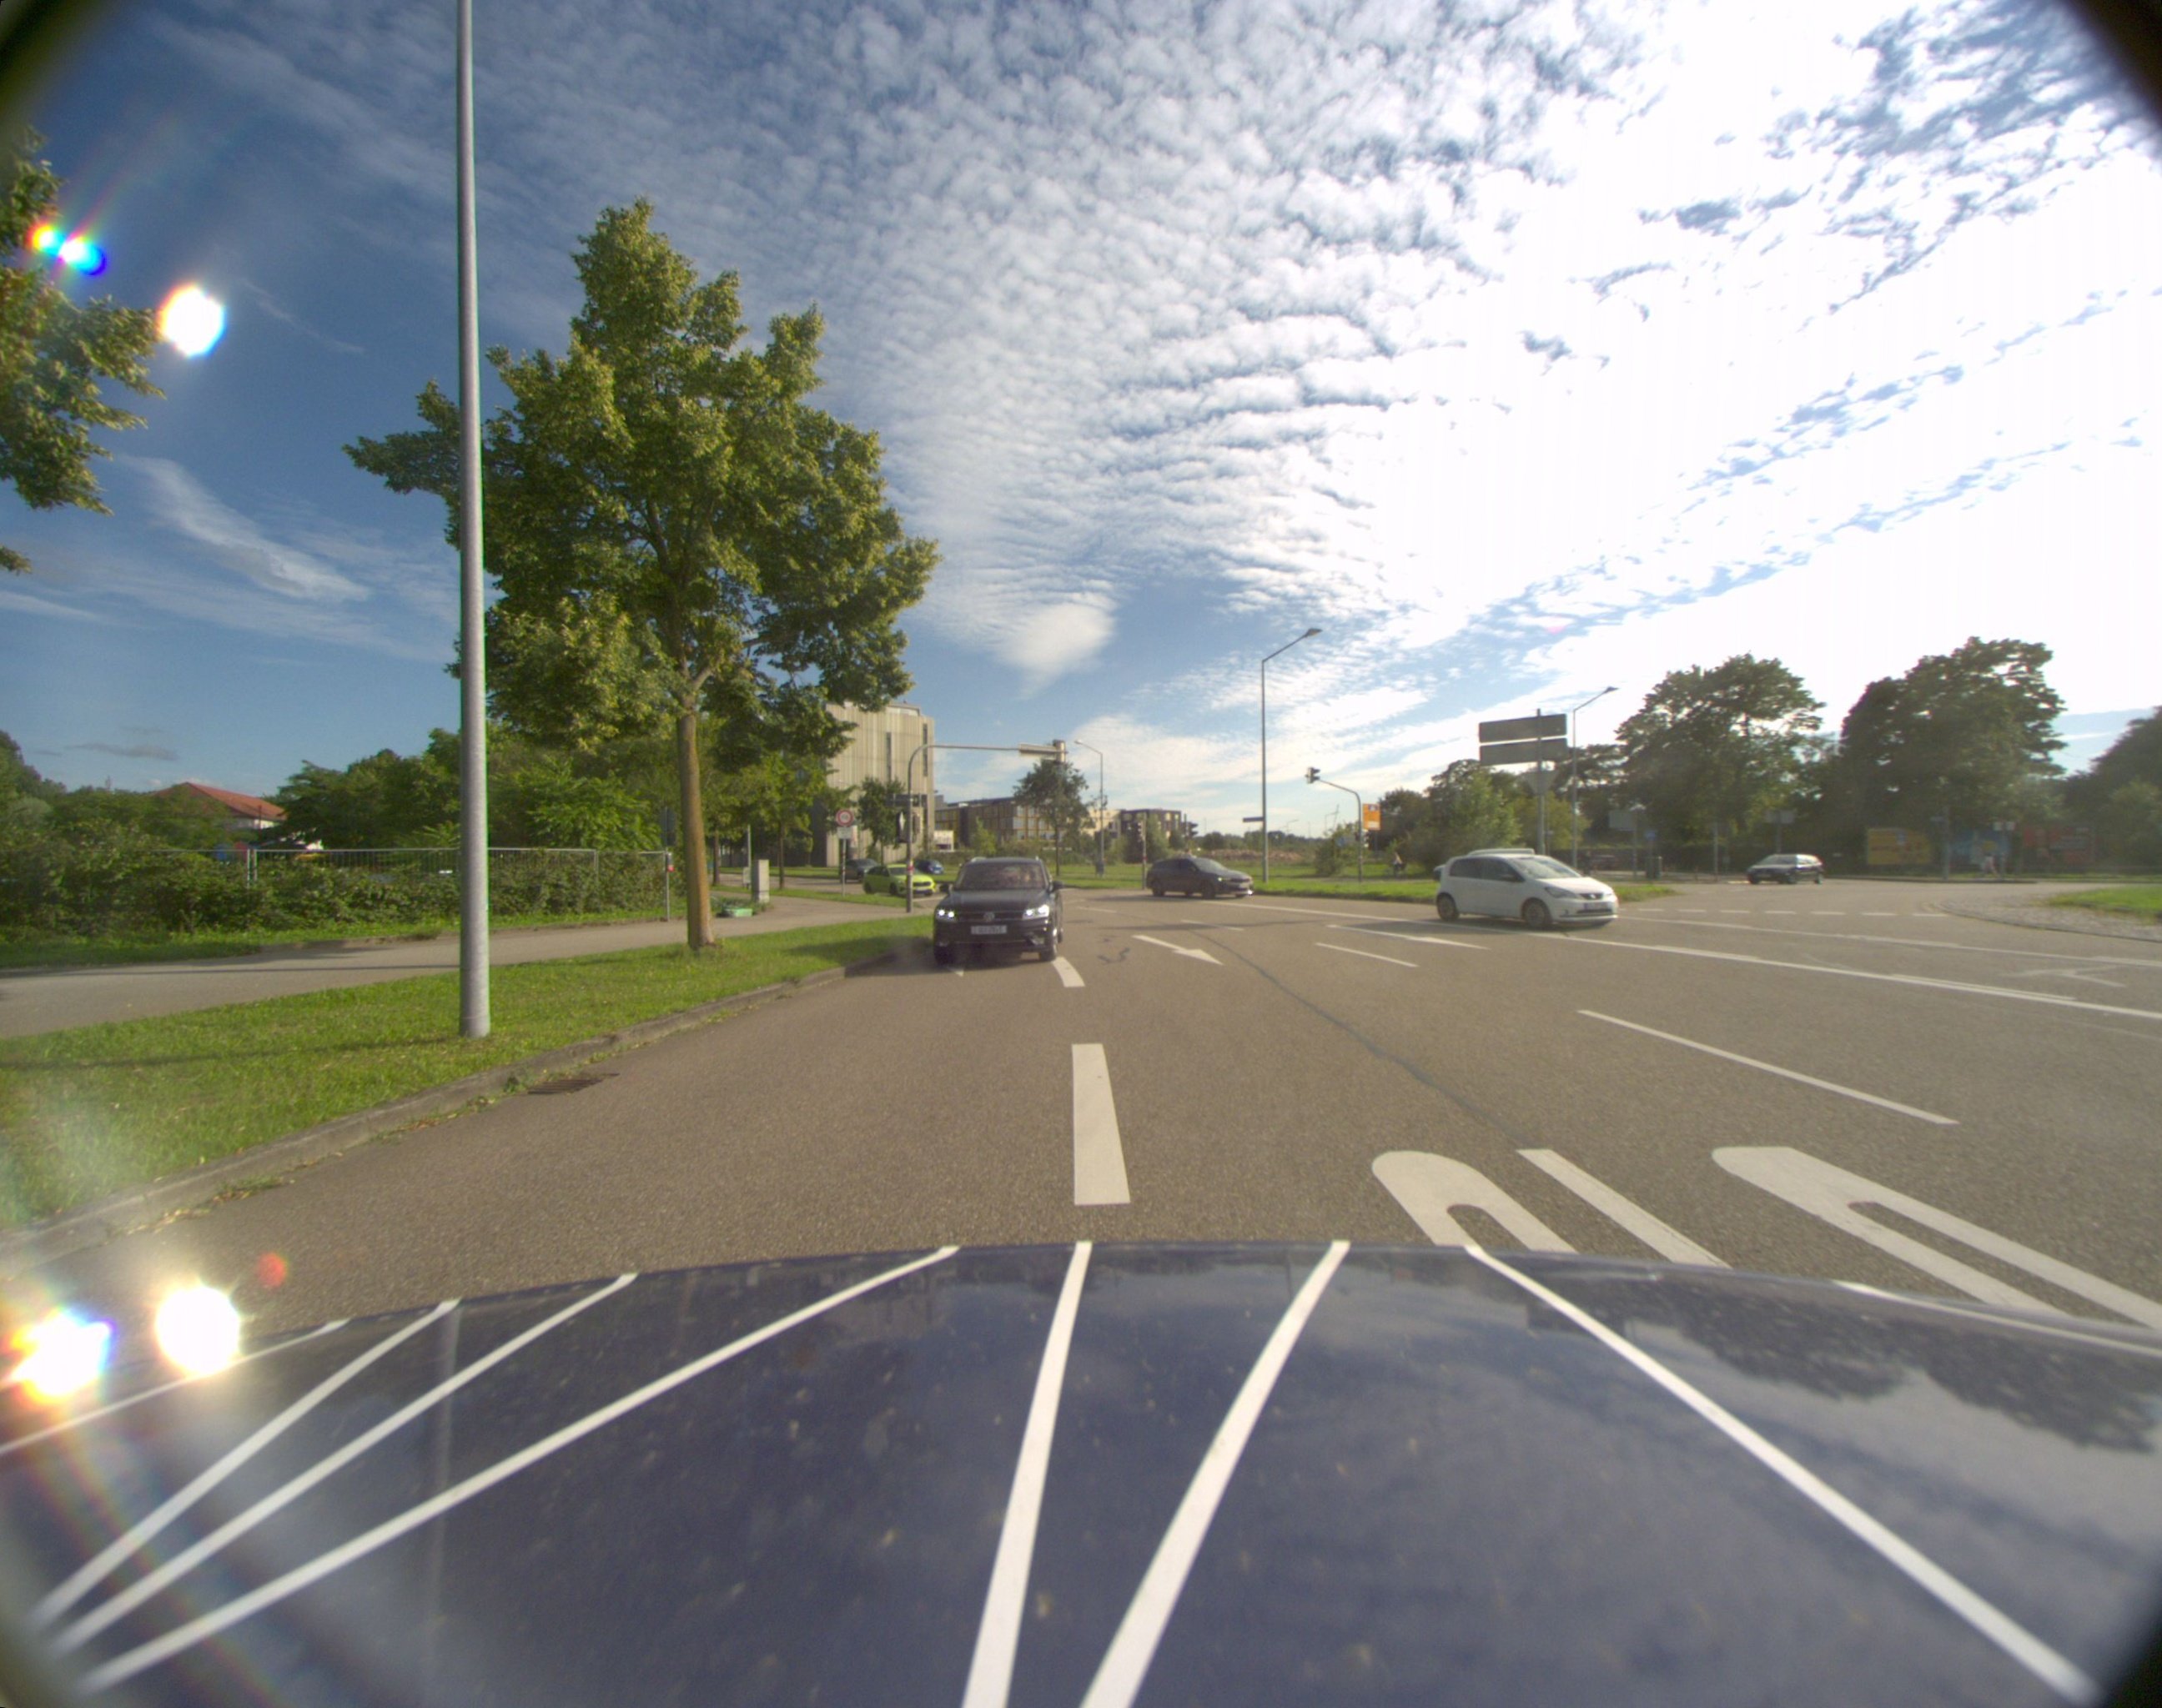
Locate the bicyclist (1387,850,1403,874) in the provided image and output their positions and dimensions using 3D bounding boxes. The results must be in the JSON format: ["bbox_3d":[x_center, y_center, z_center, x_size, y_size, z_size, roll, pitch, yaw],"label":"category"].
[{"bbox_3d":[19.328,0.474,46.740,0.698,1.437,0.611,0,1,-4],"label":"bicyclist"}]

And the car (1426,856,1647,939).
[{"bbox_3d":[9.168,0.805,15.663,1.768,1.455,3.655,-2,0,-16],"label":"car"}]

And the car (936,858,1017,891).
[{"bbox_3d":[-5.118,0.951,36.937,1.698,1.466,4.215,-3,2,-44],"label":"car"}]

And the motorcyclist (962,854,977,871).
[{"bbox_3d":[-8.995,0.688,61.210,0.786,1.358,0.941,-1,1,-36],"label":"motorcyclist"}]

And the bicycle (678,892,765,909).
[{"bbox_3d":[-11.176,1.452,23.678,2.246,0.344,1.091,-3,0,14],"label":"bicycle"}]

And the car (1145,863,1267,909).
[{"bbox_3d":[4.524,1.119,28.049,1.827,1.412,4.435,-2,2,-35],"label":"car"}]

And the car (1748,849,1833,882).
[{"bbox_3d":[34.076,0.570,36.492,4.000,1.492,1.682,1,-1,-26],"label":"car"}]

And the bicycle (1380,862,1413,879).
[{"bbox_3d":[19.416,0.997,46.749,1.837,0.982,0.611,-1,1,-5],"label":"bicycle"}]

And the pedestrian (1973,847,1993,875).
[{"bbox_3d":[52.510,0.378,44.242,0.548,1.615,0.506,0,1,-3],"label":"pedestrian"}]

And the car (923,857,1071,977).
[{"bbox_3d":[-1.227,0.907,13.303,1.871,1.646,5.015,0,1,2],"label":"car"}]

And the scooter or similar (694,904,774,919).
[{"bbox_3d":[-9.644,1.585,21.154,1.290,0.279,1.556,0,0,23],"label":"scooter or similar"}]

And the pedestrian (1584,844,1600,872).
[{"bbox_3d":[35.351,0.265,52.575,0.864,1.906,0.898,-1,3,28],"label":"pedestrian"}]

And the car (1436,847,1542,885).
[{"bbox_3d":[20.624,0.605,38.604,4.551,1.814,1.689,0,-1,20],"label":"car"}]

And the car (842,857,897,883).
[{"bbox_3d":[-13.803,1.035,49.469,1.698,1.467,4.214,-2,3,-42],"label":"car"}]

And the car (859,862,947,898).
[{"bbox_3d":[-8.114,1.149,34.317,1.900,1.412,4.595,-4,2,-40],"label":"car"}]

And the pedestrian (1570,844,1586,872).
[{"bbox_3d":[34.493,0.291,52.712,0.864,1.906,0.898,-1,3,28],"label":"pedestrian"}]

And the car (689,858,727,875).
[{"bbox_3d":[-36.965,1.196,75.274,2.004,1.652,4.789,-1,0,-44],"label":"car"}]

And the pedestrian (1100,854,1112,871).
[{"bbox_3d":[2.185,0.749,66.921,0.630,1.500,0.754,-5,4,-39],"label":"pedestrian"}]

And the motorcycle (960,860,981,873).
[{"bbox_3d":[-8.931,1.022,61.147,0.786,0.980,2.018,-1,0,-37],"label":"motorcycle"}]

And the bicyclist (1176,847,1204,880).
[{"bbox_3d":[5.207,0.428,36.179,0.867,1.547,0.995,-1,1,-38],"label":"bicyclist"}]

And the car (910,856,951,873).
[{"bbox_3d":[-13.336,0.916,67.242,1.787,1.492,3.983,2,-2,-40],"label":"car"}]

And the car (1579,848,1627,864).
[{"bbox_3d":[50.205,0.165,73.214,1.768,1.412,3.998,-1,1,-2],"label":"car"}]

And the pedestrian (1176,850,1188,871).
[{"bbox_3d":[7.915,0.528,59.754,0.630,1.620,0.656,-3,2,-40],"label":"pedestrian"}]
